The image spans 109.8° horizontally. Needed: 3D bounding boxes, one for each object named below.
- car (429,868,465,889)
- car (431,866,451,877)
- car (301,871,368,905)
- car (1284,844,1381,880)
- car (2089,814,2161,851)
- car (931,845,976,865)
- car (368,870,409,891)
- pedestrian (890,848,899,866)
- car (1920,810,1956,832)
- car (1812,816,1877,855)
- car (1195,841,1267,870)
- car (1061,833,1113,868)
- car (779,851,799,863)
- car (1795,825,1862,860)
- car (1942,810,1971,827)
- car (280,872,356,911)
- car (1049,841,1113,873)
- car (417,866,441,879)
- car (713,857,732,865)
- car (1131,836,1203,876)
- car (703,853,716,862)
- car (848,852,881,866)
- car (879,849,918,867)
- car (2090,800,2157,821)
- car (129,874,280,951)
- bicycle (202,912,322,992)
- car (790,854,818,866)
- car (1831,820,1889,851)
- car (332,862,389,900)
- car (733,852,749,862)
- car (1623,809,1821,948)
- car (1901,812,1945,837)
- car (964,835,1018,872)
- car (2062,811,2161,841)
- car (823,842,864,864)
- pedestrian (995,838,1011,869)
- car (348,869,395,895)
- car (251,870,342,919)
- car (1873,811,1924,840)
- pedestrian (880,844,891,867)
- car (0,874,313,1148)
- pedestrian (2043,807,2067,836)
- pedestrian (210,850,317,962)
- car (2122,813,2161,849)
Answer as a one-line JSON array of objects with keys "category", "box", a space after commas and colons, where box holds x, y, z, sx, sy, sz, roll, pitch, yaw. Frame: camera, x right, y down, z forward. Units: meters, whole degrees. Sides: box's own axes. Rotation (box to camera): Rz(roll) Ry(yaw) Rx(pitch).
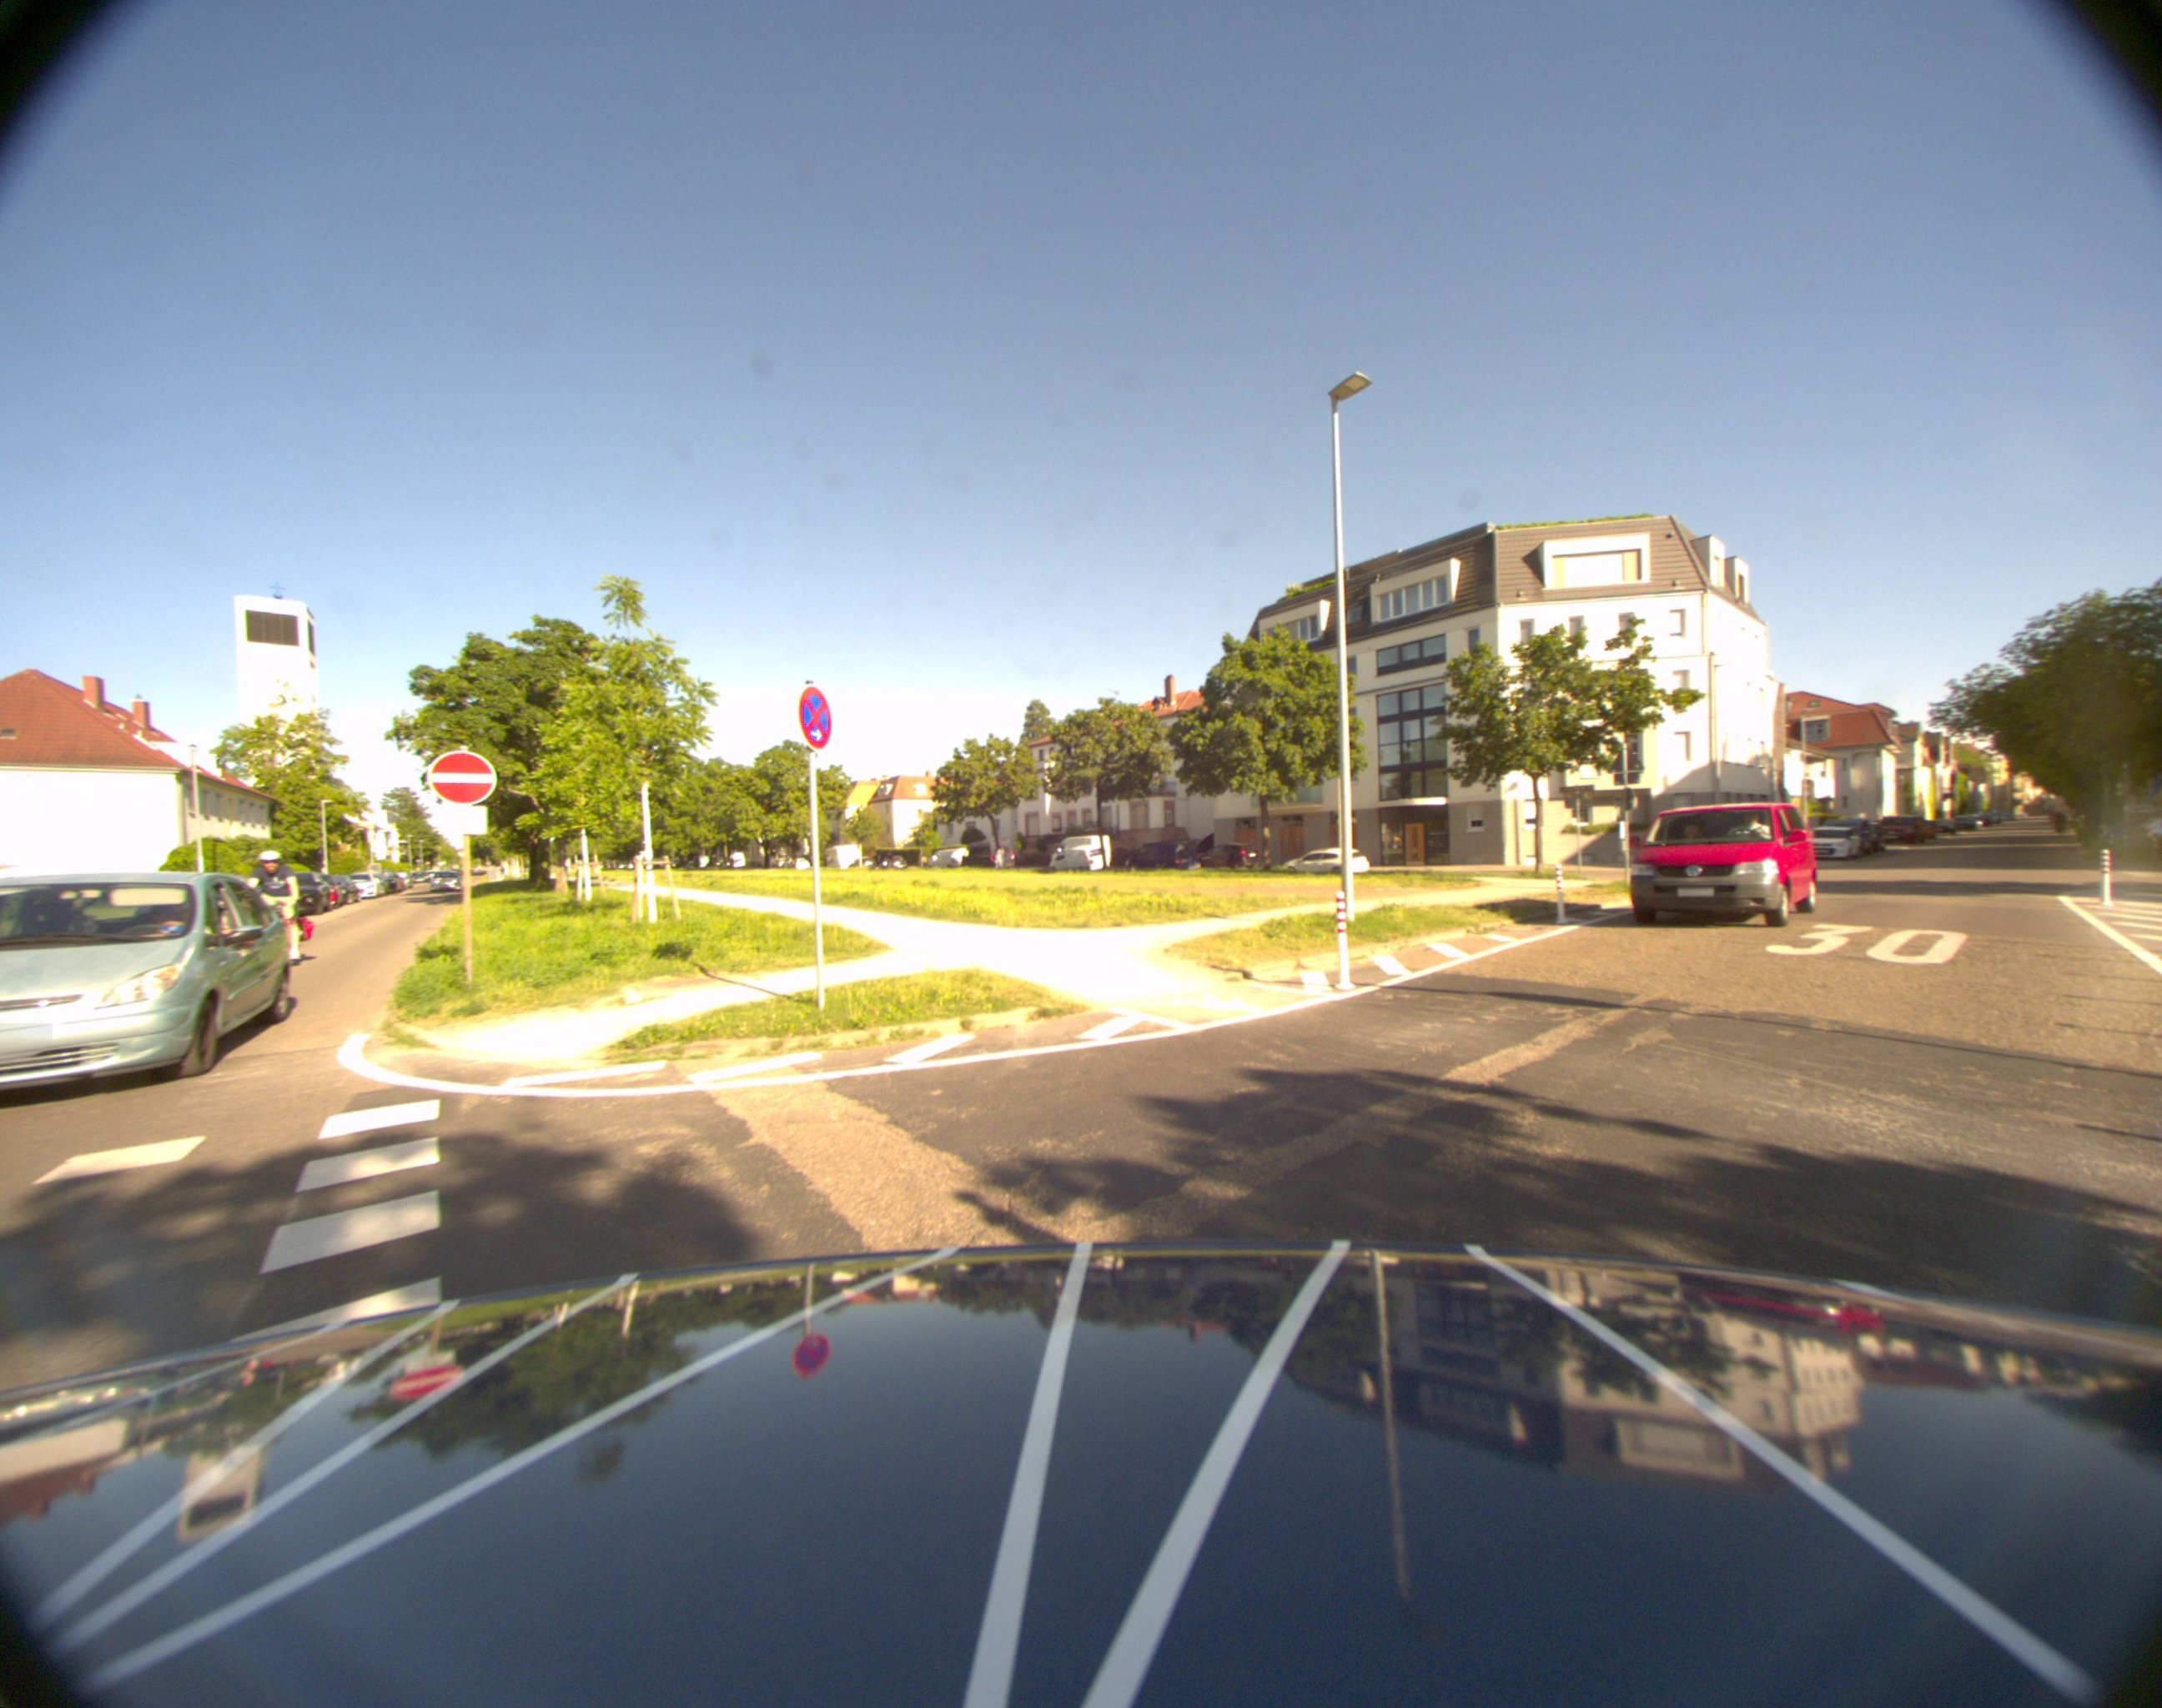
[{"category": "car", "box": [-44.623, 1.724, 53.532, 1.725, 1.334, 3.799, -2, 1, -37]}, {"category": "car", "box": [-85.485, 2.291, 101.513, 1.725, 1.334, 3.799, -2, 1, -37]}, {"category": "car", "box": [-35.684, 1.579, 36.428, 1.725, 1.433, 4.129, -2, 1, -37]}, {"category": "car", "box": [11.772, 0.370, 35.754, 1.742, 1.425, 3.983, -8, 4, -37]}, {"category": "car", "box": [46.572, -0.962, 32.664, 1.695, 1.486, 3.781, -3, 0, -40]}, {"category": "car", "box": [-11.023, 0.115, 65.621, 2.089, 1.589, 4.276, -2, 1, -37]}, {"category": "car", "box": [-48.019, 1.807, 52.725, 1.725, 1.334, 3.799, -2, 1, -37]}, {"category": "pedestrian", "box": [-15.427, 0.239, 62.911, 0.498, 1.497, 0.533, -3, 2, -38]}, {"category": "car", "box": [78.368, -3.015, 69.434, 4.409, 1.861, 1.880, -2, 1, -37]}, {"category": "car", "box": [37.911, -0.953, 37.712, 4.264, 1.826, 1.661, -3, 4, -37]}, {"category": "car", "box": [9.493, 0.081, 48.275, 1.899, 1.673, 4.277, -4, 2, -37]}, {"category": "car", "box": [0.422, -0.270, 60.117, 2.026, 2.534, 3.983, -4, 2, -37]}, {"category": "car", "box": [-46.033, 0.410, 119.698, 1.869, 1.835, 3.983, -3, 2, -37]}, {"category": "car", "box": [34.411, -0.564, 34.945, 3.694, 1.441, 1.661, -3, 4, -38]}, {"category": "car", "box": [98.896, -4.002, 85.854, 4.409, 1.734, 1.880, -2, 1, -37]}, {"category": "car", "box": [-32.845, 1.558, 32.813, 1.725, 1.433, 4.129, -2, 1, -37]}, {"category": "car", "box": [-0.033, 0.226, 50.778, 1.879, 1.874, 4.412, -8, 4, -37]}, {"category": "car", "box": [-71.747, 2.039, 83.627, 1.725, 1.334, 3.799, -2, 1, -37]}, {"category": "car", "box": [-63.234, 1.224, 133.844, 2.085, 1.457, 4.715, -2, 1, -37]}, {"category": "car", "box": [4.979, 0.120, 44.238, 1.786, 2.073, 3.983, -8, 4, -36]}, {"category": "car", "box": [-81.795, 0.736, 167.378, 1.869, 1.835, 3.983, -2, 1, -37]}, {"category": "car", "box": [-22.801, 0.549, 79.927, 1.938, 1.337, 4.099, -2, 1, -37]}, {"category": "car", "box": [-17.892, 0.391, 74.390, 2.089, 1.589, 4.276, -2, 1, -37]}, {"category": "car", "box": [96.682, -4.012, 70.541, 1.695, 1.693, 3.521, -3, 0, -40]}, {"category": "car", "box": [-22.644, 1.409, 19.820, 1.725, 1.655, 4.053, -2, 1, -37]}, {"category": "bicycle", "box": [-13.162, 1.520, 12.308, 1.056, 0.932, 2.756, -3, 1, -42]}, {"category": "car", "box": [-35.652, 0.783, 97.729, 2.085, 1.457, 4.715, -2, 1, -37]}, {"category": "car", "box": [42.140, -1.048, 41.094, 4.073, 1.533, 1.661, -3, 4, -37]}, {"category": "car", "box": [-41.393, 1.472, 43.718, 1.875, 2.002, 4.244, -3, 1, -37]}, {"category": "car", "box": [-64.953, 0.650, 145.005, 1.869, 1.835, 3.983, -2, 1, -37]}, {"category": "car", "box": [11.085, 0.268, 13.000, 4.895, 1.949, 1.891, -3, 2, -42]}, {"category": "car", "box": [66.137, -2.361, 59.663, 4.409, 1.861, 1.880, -3, 4, -37]}, {"category": "car", "box": [-7.111, -0.043, 59.925, 2.196, 2.571, 4.276, -8, 4, -36]}, {"category": "car", "box": [57.701, -1.562, 42.087, 3.781, 1.486, 1.695, -2, 0, 39]}, {"category": "car", "box": [-26.751, -0.133, 85.332, 2.556, 2.320, 5.904, -2, 1, -37]}, {"category": "pedestrian", "box": [-4.859, -0.034, 47.571, 0.726, 1.866, 0.627, -3, 2, -39]}, {"category": "car", "box": [-44.662, 1.738, 47.892, 1.725, 1.490, 3.799, -2, 1, -37]}, {"category": "car", "box": [-29.209, 1.435, 28.413, 1.725, 1.574, 4.129, -2, 1, -37]}, {"category": "car", "box": [55.073, -1.941, 51.174, 4.409, 1.861, 1.880, -3, 4, -37]}, {"category": "pedestrian", "box": [-16.114, 0.135, 62.675, 0.645, 1.866, 0.627, -2, 2, -39]}, {"category": "car", "box": [-8.141, 1.042, 6.272, 1.892, 1.599, 4.235, -2, 1, -37]}, {"category": "pedestrian", "box": [69.107, -2.294, 53.895, 1.072, 2.002, 1.021, -3, 2, -39]}, {"category": "pedestrian", "box": [-13.192, 0.811, 12.307, 1.056, 1.699, 0.691, -3, 2, -42]}, {"category": "car", "box": [45.342, -0.987, 30.677, 1.695, 1.436, 3.781, -3, 0, -40]}]
